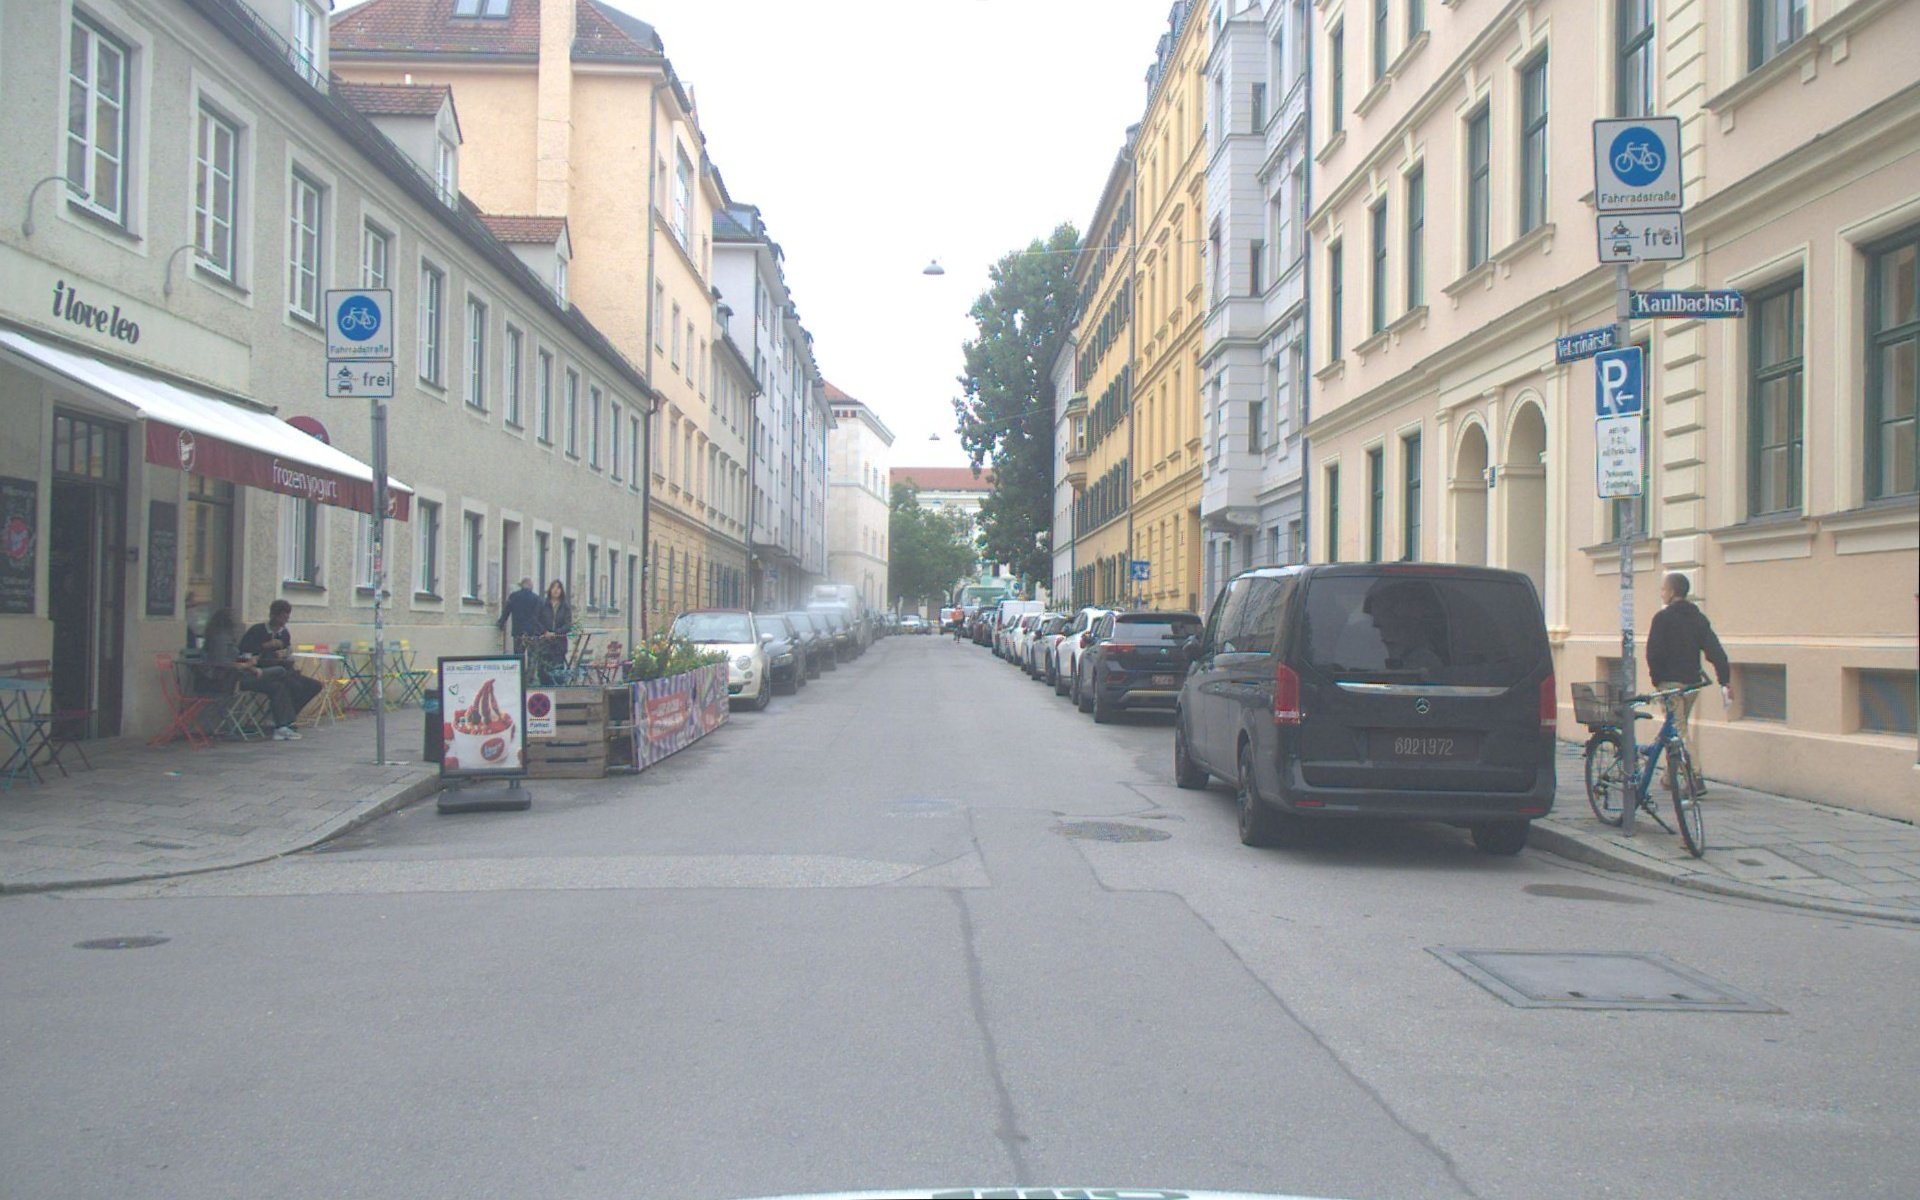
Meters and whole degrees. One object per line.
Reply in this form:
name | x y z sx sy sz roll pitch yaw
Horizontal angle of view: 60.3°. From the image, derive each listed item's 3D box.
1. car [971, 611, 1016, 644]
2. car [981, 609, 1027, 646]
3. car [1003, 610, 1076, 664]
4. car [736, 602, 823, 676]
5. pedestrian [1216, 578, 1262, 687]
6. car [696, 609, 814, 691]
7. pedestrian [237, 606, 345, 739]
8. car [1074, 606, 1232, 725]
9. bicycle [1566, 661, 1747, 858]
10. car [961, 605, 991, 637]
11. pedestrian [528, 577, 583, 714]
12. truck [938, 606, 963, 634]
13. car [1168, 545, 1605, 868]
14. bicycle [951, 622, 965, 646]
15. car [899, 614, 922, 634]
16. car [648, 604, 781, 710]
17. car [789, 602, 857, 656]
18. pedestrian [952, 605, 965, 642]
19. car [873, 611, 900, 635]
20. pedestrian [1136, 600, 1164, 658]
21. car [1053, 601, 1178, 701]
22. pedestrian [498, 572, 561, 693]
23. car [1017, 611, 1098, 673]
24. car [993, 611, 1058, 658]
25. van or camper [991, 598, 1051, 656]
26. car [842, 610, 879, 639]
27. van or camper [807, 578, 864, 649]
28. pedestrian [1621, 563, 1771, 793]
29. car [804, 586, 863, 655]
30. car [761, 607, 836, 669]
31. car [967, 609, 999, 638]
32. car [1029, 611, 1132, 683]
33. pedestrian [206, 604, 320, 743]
car | 1.551 1.280 77.527 1.775 1.449 4.244 2 -1 -3
car | 1.881 1.202 72.253 1.775 1.490 4.245 2 -1 -1
car | 2.258 1.042 47.907 1.674 1.480 4.094 1 -1 -3
car | -3.967 0.846 36.883 1.720 1.522 4.197 1 -1 -4
pedestrian | 5.283 0.613 31.375 0.656 2.015 0.708 -3 -2 -1
car | -3.744 0.878 30.905 1.762 1.363 4.683 1 0 -2
pedestrian | -6.783 0.731 16.795 0.787 1.313 0.693 0 -2 -1
car | 2.704 0.886 24.028 1.719 1.548 4.273 1 -1 -1
bicycle | 4.578 1.009 10.978 0.456 1.071 1.729 -1 2 0
car | 0.984 1.351 104.306 1.814 1.953 4.768 0 -1 -1
pedestrian | -5.483 0.619 22.451 0.518 1.813 0.877 0 -2 -1
truck | -0.842 1.745 140.684 2.078 2.287 6.183 0 -2 -1
car | 2.894 0.655 12.556 1.956 1.897 5.253 1 0 0
bicycle | -0.083 1.615 78.950 0.661 1.114 1.760 0 -2 0
car | -3.989 1.927 133.583 1.671 1.609 3.863 0 -1 1
car | -3.744 0.838 25.729 1.720 1.501 3.711 2 -1 -4
car | -3.851 0.809 47.012 1.719 1.433 4.101 1 -1 -2
pedestrian | -0.075 1.110 79.017 0.629 1.744 0.842 0 -2 -1
car | -5.300 1.662 119.103 1.671 1.638 3.863 0 -1 1
pedestrian | 5.369 0.823 46.845 0.647 1.599 0.642 -2 -2 -2
car | 2.674 0.863 29.346 1.707 1.611 4.465 1 -1 -1
pedestrian | -6.964 0.534 26.805 0.806 1.931 0.827 0 -2 -2
car | 2.387 1.016 41.416 1.673 1.433 4.813 1 -1 -1
car | 2.066 1.072 52.827 1.674 1.417 4.203 1 -1 -3
van or camper | 2.079 0.928 57.732 1.796 1.904 5.077 1 -1 -1
car | -5.148 1.271 85.705 1.781 1.470 3.816 0 -1 -2
van or camper | -4.258 0.488 57.310 1.719 2.321 5.271 1 -1 -2
pedestrian | 5.805 0.610 13.092 0.704 1.747 1.003 0 -2 -2
car | -4.005 0.643 51.915 1.720 2.030 4.620 1 -1 -5
car | -4.041 0.909 41.814 1.780 1.467 4.127 0 0 -5
car | 1.353 1.411 98.437 1.775 1.642 4.155 0 -1 -1
car | 2.531 0.984 35.578 1.674 1.429 4.204 1 -1 -3
pedestrian | -6.761 0.707 16.072 0.787 1.313 0.693 0 -2 -1
